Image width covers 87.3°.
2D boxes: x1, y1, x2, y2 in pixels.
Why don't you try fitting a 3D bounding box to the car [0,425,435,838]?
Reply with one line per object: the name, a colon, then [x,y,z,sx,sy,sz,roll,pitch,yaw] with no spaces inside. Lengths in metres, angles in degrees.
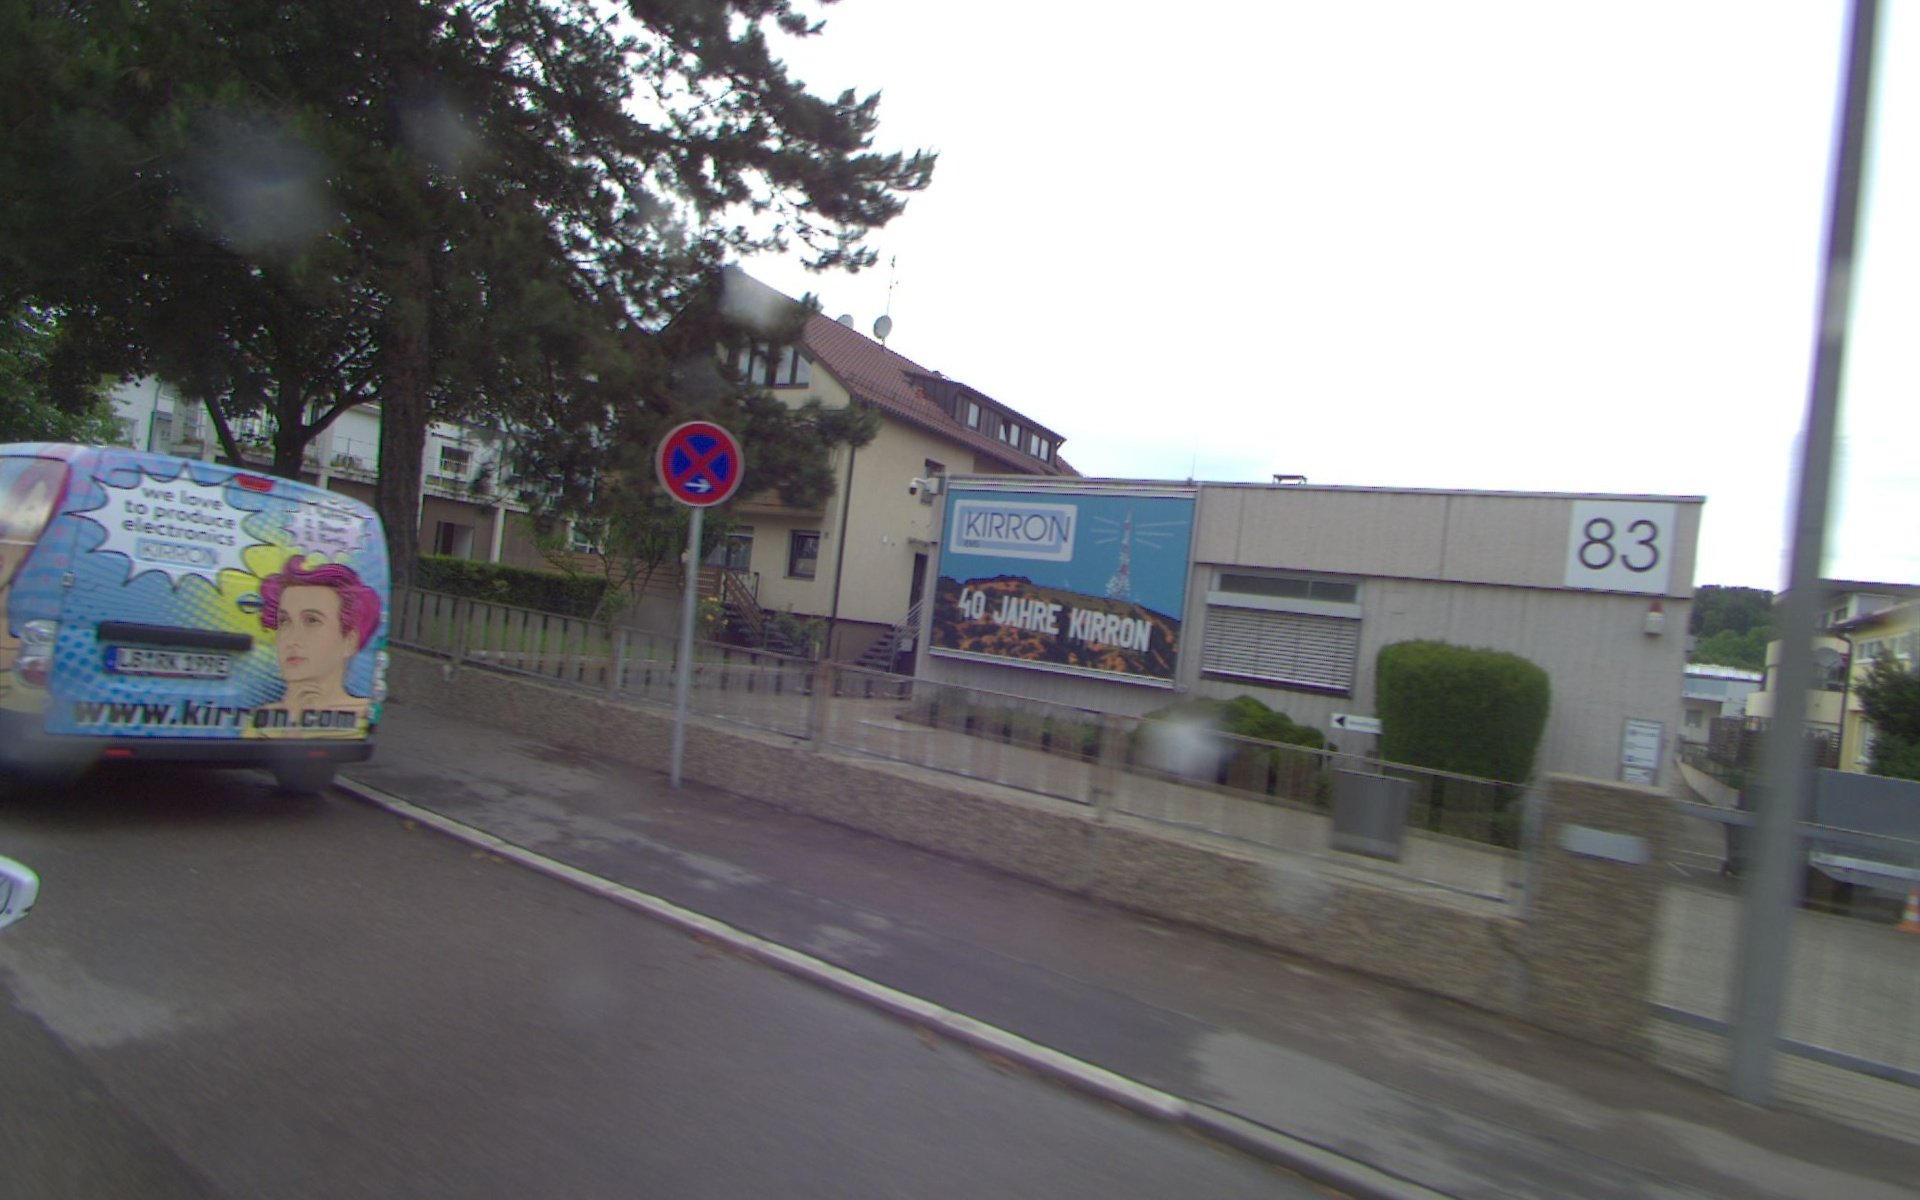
car: [-5.949,-0.019,6.701,5.463,1.848,1.735,7,-3,34]
